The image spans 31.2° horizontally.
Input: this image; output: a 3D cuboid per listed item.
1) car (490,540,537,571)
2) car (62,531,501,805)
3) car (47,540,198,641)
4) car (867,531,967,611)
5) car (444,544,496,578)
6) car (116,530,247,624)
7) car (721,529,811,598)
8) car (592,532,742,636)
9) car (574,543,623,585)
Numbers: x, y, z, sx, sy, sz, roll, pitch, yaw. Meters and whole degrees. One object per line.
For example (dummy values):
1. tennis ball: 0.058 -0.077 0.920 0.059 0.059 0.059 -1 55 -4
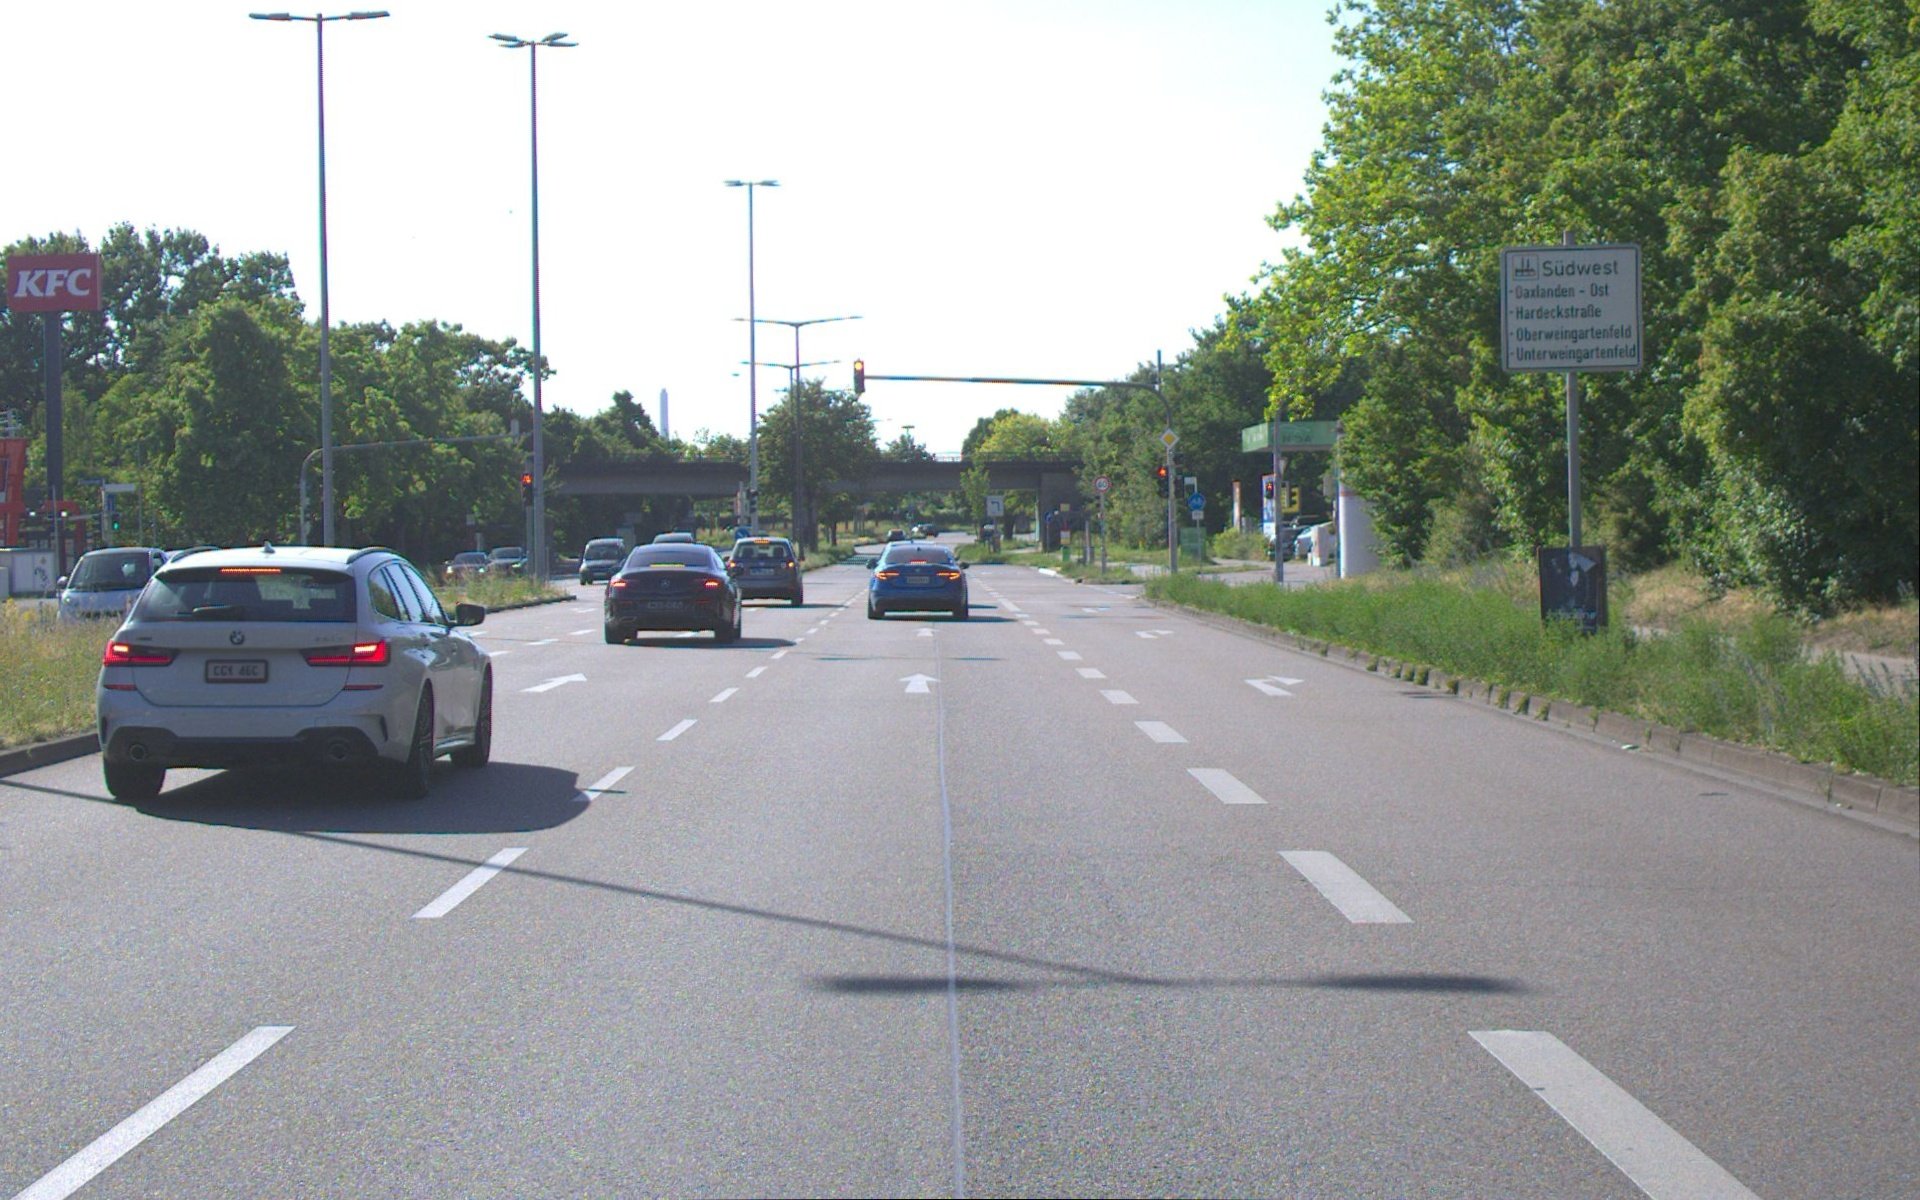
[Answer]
1. car: -20.811 -2.068 160.269 1.703 1.397 3.723 0 1 0
2. car: -3.999 0.326 20.995 1.861 1.450 4.548 1 1 -1
3. car: -12.934 -0.178 53.253 1.493 1.503 3.487 0 1 0
4. car: -0.832 -0.580 66.444 1.861 1.494 4.337 0 1 -1
5. car: -20.887 -1.671 146.520 1.703 1.397 3.723 0 1 0
6. car: -13.877 -0.434 61.445 1.535 1.617 3.671 0 1 0
7. car: -4.481 -0.870 79.905 1.861 1.560 4.548 0 1 -1
8. car: -4.289 -0.268 50.911 1.861 1.450 4.548 0 1 -1
9. car: -14.190 -1.435 135.059 1.535 1.575 3.671 -1 1 0
